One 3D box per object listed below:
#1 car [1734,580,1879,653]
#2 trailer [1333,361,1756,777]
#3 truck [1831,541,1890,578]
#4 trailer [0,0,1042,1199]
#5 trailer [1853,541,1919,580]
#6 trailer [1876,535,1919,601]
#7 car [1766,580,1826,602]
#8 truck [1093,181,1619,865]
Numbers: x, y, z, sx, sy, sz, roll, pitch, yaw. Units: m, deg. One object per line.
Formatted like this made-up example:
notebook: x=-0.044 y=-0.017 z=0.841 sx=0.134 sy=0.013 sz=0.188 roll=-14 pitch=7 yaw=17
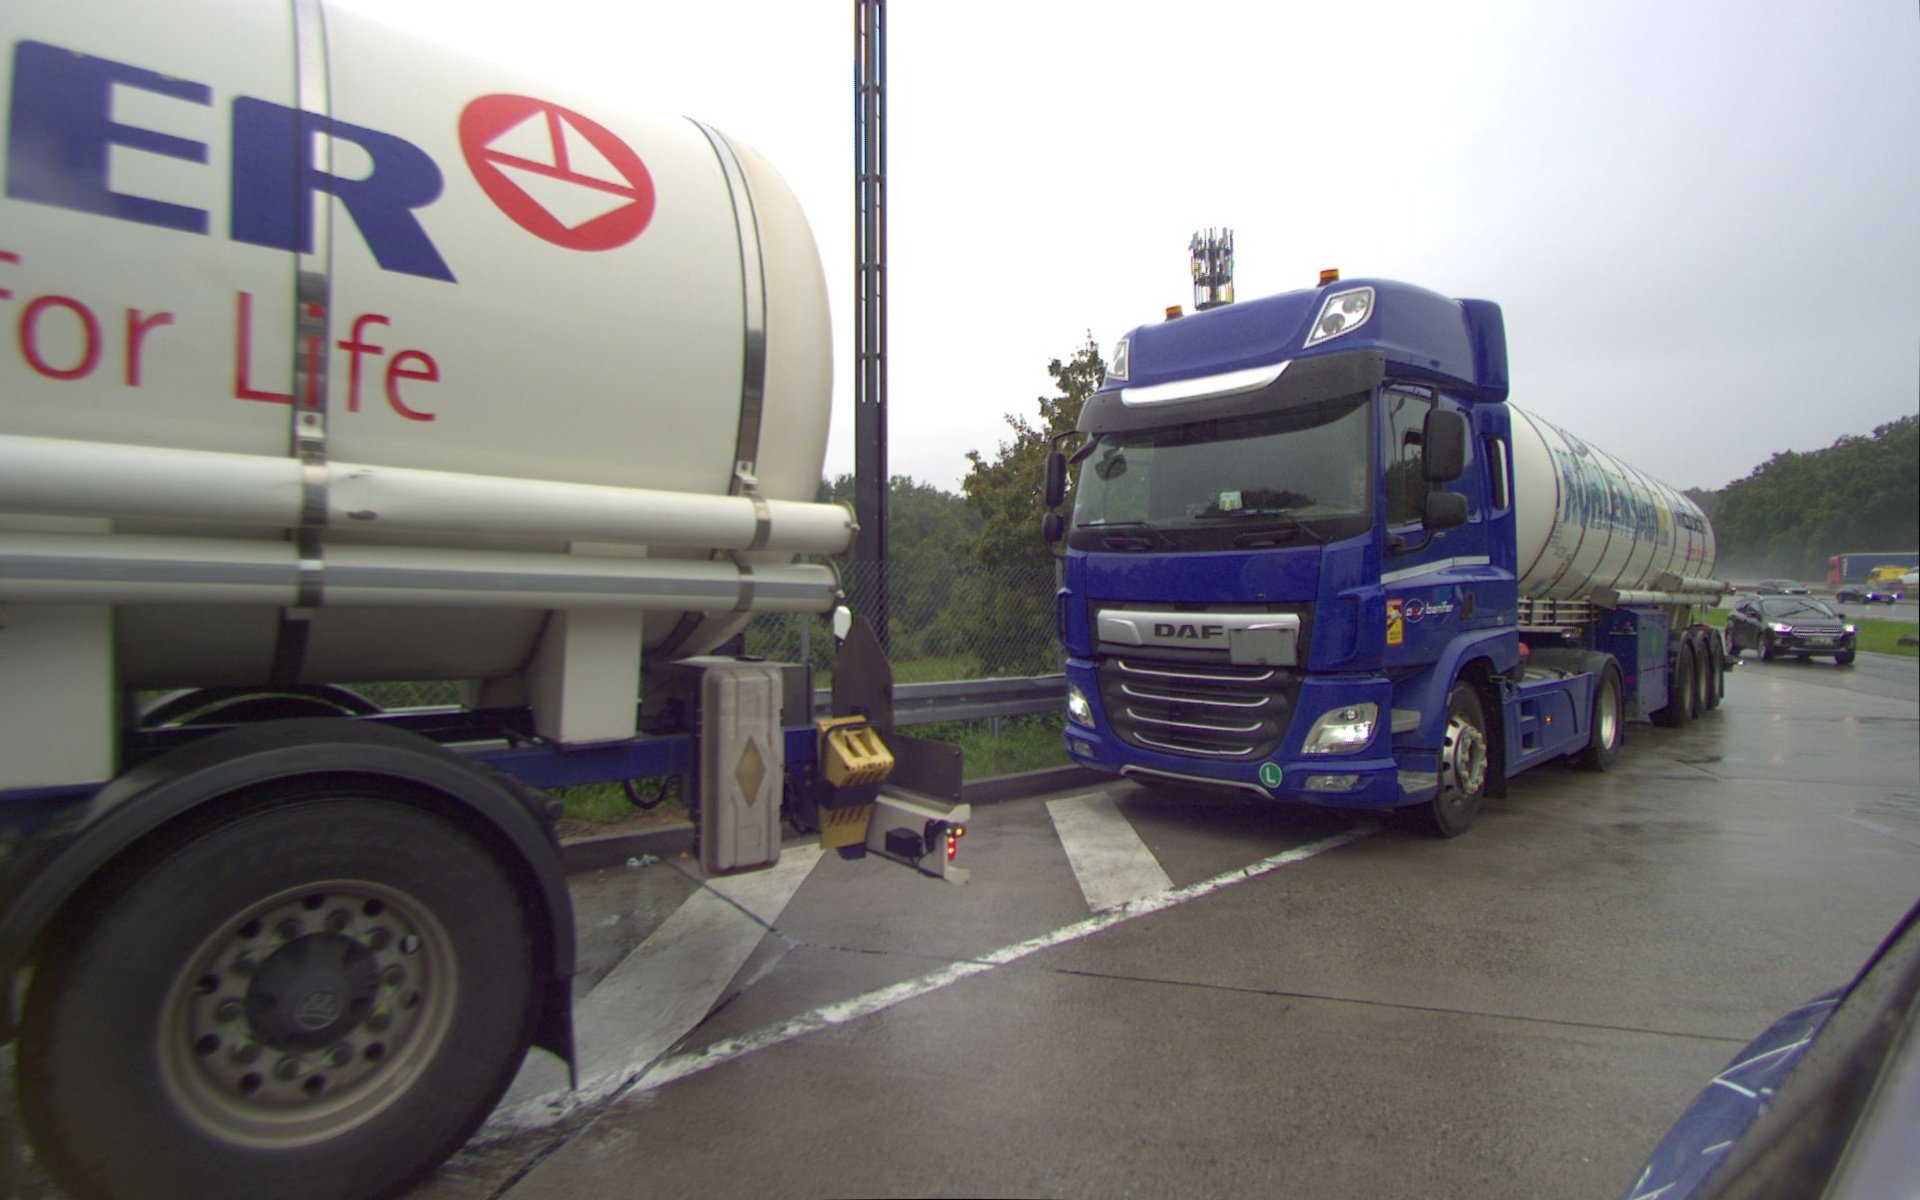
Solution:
car: x=21.499 y=0.378 z=25.888 sx=1.793 sy=1.560 sz=3.966 roll=-4 pitch=0 yaw=25
trailer: x=7.711 y=-0.302 z=12.286 sx=1.981 sy=3.265 sz=10.156 roll=0 pitch=0 yaw=44
truck: x=92.639 y=-4.132 z=104.235 sx=2.164 sy=3.553 sz=5.150 roll=-3 pitch=1 yaw=13
trailer: x=-4.425 y=-0.321 z=1.305 sx=10.059 sy=3.484 sz=2.138 roll=0 pitch=0 yaw=-36
trailer: x=90.933 y=-3.833 z=96.757 sx=2.164 sy=3.540 sz=13.086 roll=-3 pitch=1 yaw=13
trailer: x=53.160 y=-1.667 z=51.790 sx=2.654 sy=3.548 sz=15.056 roll=-3 pitch=1 yaw=16
car: x=63.054 y=-0.680 z=76.433 sx=1.761 sy=1.579 sz=4.083 roll=0 pitch=0 yaw=12
truck: x=3.253 y=-0.430 z=7.691 sx=2.053 sy=3.576 sz=4.670 roll=0 pitch=0 yaw=45
